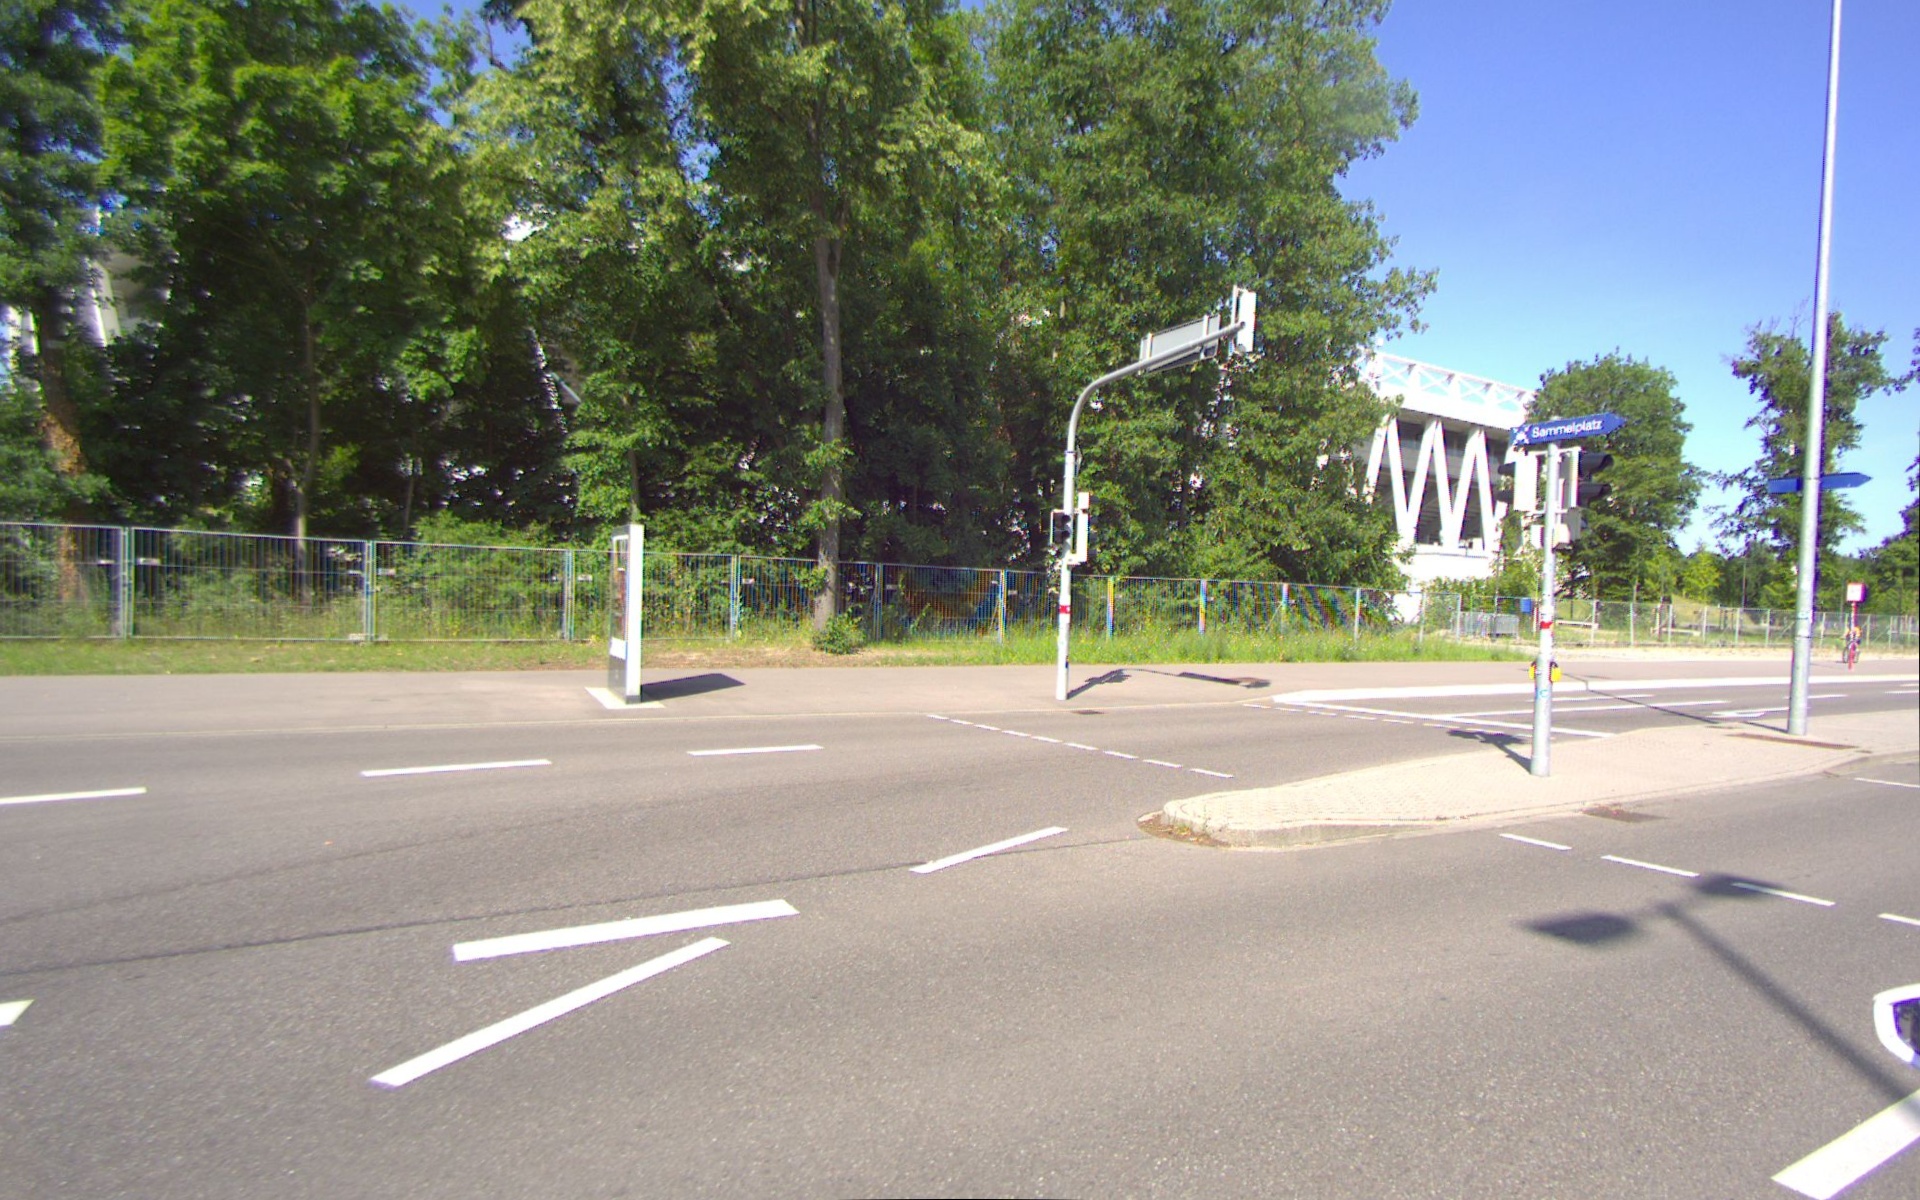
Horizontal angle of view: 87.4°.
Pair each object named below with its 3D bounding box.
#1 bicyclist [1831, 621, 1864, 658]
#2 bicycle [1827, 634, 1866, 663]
[{"bbox_3d":[37.066,1.651,41.955,1.045,1.487,0.656,1,2,-31],"label":"bicyclist"},{"bbox_3d":[37.141,2.014,42.062,1.857,1.151,0.656,2,2,-31],"label":"bicycle"}]
